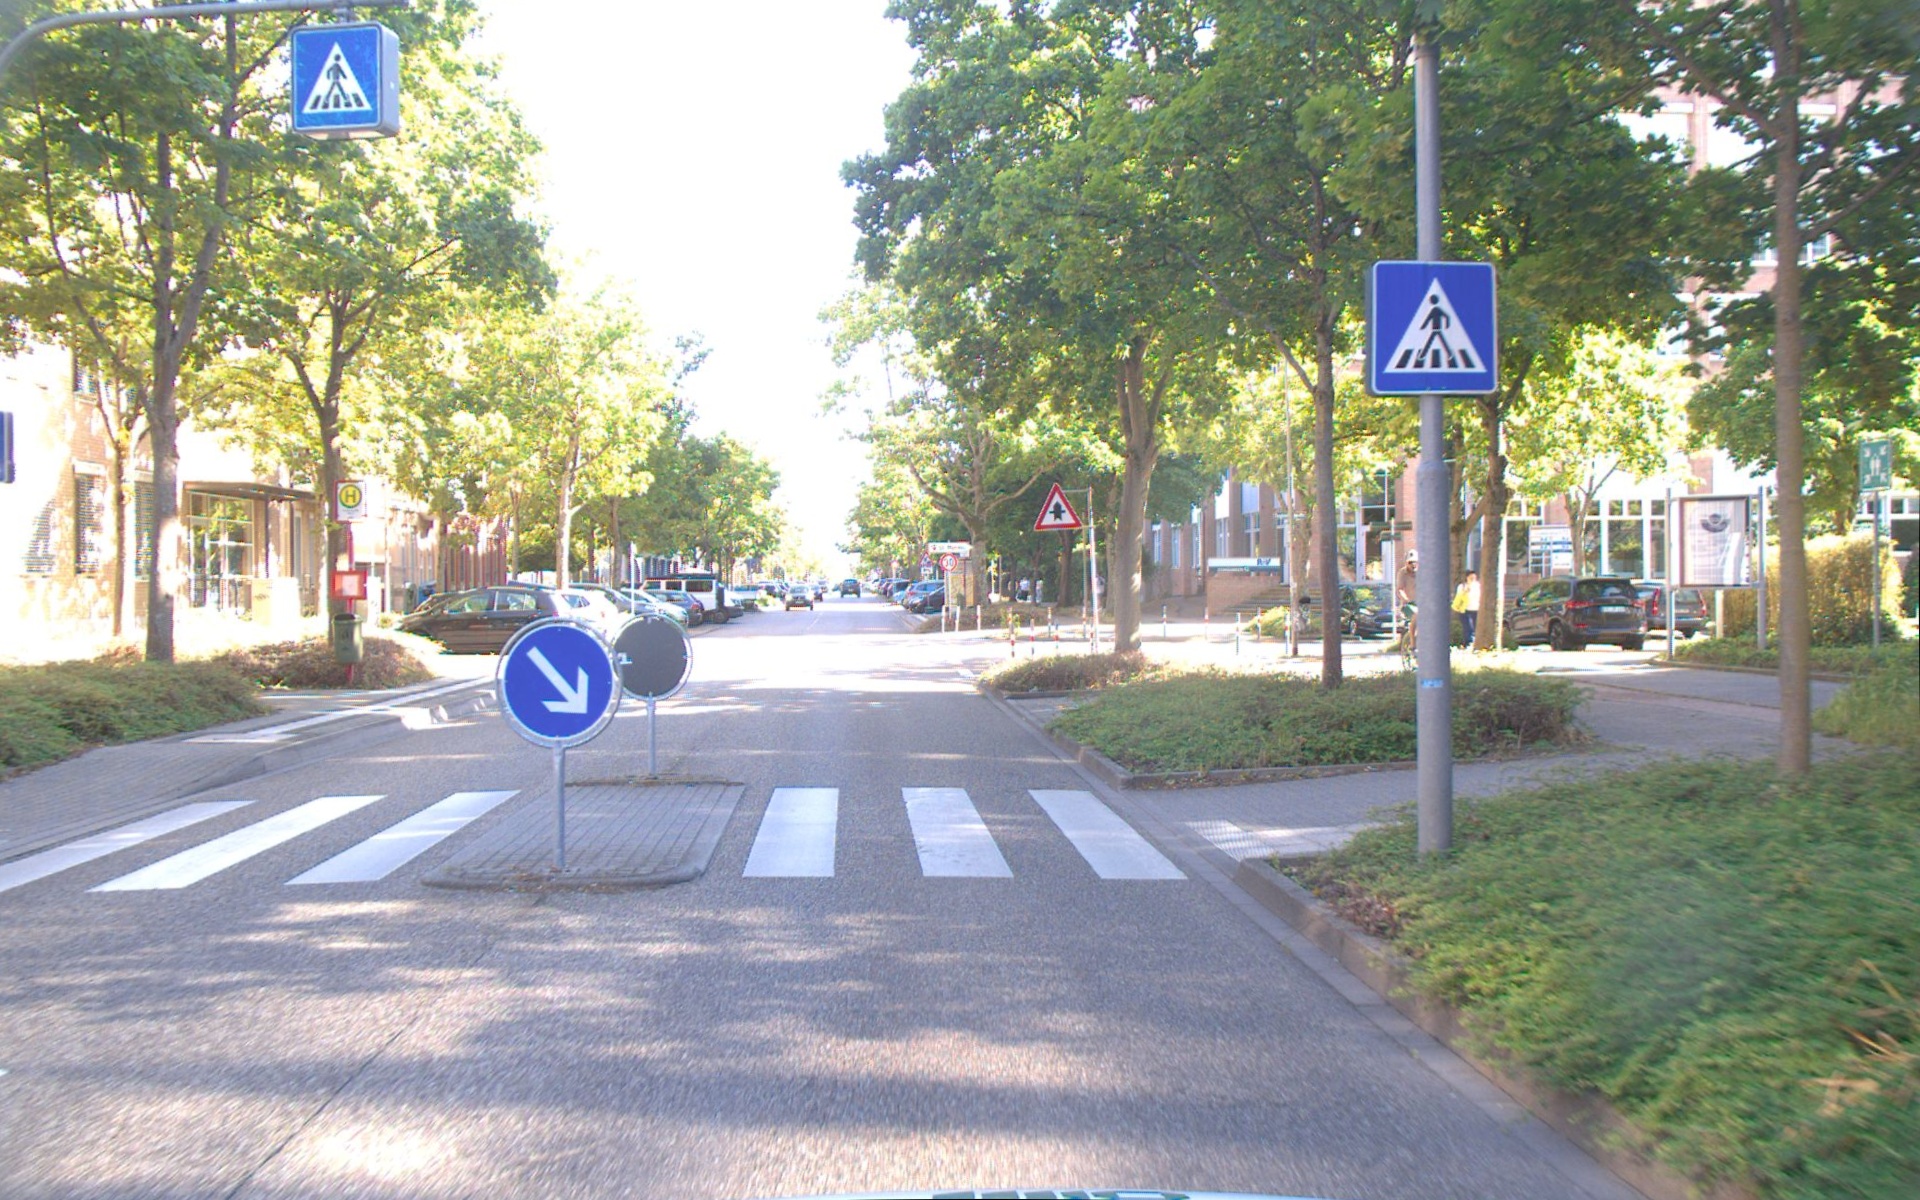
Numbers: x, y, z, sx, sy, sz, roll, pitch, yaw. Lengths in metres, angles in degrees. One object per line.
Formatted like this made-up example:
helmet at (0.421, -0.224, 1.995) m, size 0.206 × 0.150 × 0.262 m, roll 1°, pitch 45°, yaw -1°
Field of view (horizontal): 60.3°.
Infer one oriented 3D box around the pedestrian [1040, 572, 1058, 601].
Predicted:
pedestrian at (5.356, -0.809, 99.557) m, size 0.684 × 1.740 × 0.917 m, roll -4°, pitch 1°, yaw -15°

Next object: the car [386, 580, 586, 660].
car at (-10.375, 0.432, 36.390) m, size 3.909 × 1.598 × 1.726 m, roll 2°, pitch 0°, yaw -5°

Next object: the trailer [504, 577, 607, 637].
trailer at (-11.984, 0.197, 49.085) m, size 2.671 × 1.717 × 1.711 m, roll 1°, pitch 0°, yaw -4°

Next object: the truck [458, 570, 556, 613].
truck at (-30.513, -0.575, 111.628) m, size 5.986 × 2.752 × 2.575 m, roll -1°, pitch 0°, yaw -6°

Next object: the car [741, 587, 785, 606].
car at (-16.586, -0.299, 139.416) m, size 3.660 × 1.489 × 1.675 m, roll -1°, pitch 0°, yaw -5°

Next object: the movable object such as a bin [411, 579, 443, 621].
movable object such as a bin at (-20.952, -0.007, 65.065) m, size 1.126 × 1.648 × 1.435 m, roll -1°, pitch 0°, yaw -16°

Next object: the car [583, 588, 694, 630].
car at (-11.865, 0.321, 61.130) m, size 3.756 × 1.486 × 1.732 m, roll 1°, pitch 0°, yaw -1°

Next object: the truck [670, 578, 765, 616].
truck at (-13.332, -0.172, 91.138) m, size 4.884 × 1.993 × 2.138 m, roll -1°, pitch 0°, yaw -1°

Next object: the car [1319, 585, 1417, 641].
car at (11.647, 0.344, 47.440) m, size 1.619 × 1.488 × 3.914 m, roll 0°, pitch 1°, yaw -4°

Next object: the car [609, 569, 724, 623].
car at (-11.779, -0.155, 66.673) m, size 4.395 × 2.087 × 1.997 m, roll 1°, pitch 0°, yaw -6°

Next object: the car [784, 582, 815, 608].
car at (-9.719, -0.306, 100.388) m, size 1.744 × 1.538 × 3.997 m, roll -1°, pitch 0°, yaw -4°

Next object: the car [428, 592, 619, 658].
car at (-10.271, 0.567, 39.159) m, size 4.070 × 1.427 × 1.799 m, roll 1°, pitch 0°, yaw -5°

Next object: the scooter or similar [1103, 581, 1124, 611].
scooter or similar at (7.089, -0.175, 76.336) m, size 0.538 × 1.348 × 1.802 m, roll 1°, pitch 0°, yaw -9°

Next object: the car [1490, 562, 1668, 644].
car at (12.852, 0.110, 34.644) m, size 1.704 × 1.593 × 4.359 m, roll 0°, pitch -2°, yaw -6°

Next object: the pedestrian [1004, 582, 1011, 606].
pedestrian at (2.931, -0.354, 102.079) m, size 0.373 × 1.466 × 0.432 m, roll 1°, pitch 0°, yaw -7°

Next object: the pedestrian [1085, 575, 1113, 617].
pedestrian at (6.021, -0.174, 71.648) m, size 0.903 × 1.740 × 0.695 m, roll -4°, pitch 1°, yaw -17°

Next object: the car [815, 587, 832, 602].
car at (-15.763, -0.642, 190.670) m, size 1.855 × 1.713 × 4.347 m, roll -1°, pitch 1°, yaw -6°

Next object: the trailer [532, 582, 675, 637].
trailer at (-11.054, 0.289, 51.527) m, size 4.180 × 1.599 × 1.853 m, roll 1°, pitch 0°, yaw -8°

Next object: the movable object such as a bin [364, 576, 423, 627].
movable object such as a bin at (-20.591, 0.043, 60.140) m, size 1.567 × 1.828 × 1.663 m, roll -1°, pitch 0°, yaw -2°

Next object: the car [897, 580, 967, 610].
car at (-1.808, -0.334, 105.601) m, size 4.320 × 1.646 × 1.910 m, roll -4°, pitch 1°, yaw -5°

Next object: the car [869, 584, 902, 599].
car at (-9.298, -1.055, 206.916) m, size 3.913 × 1.823 × 1.996 m, roll -1°, pitch 0°, yaw -9°

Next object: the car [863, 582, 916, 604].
car at (-5.761, -0.600, 135.453) m, size 4.186 × 1.662 × 1.855 m, roll -2°, pitch 0°, yaw -7°

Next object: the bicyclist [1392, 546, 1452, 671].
bicyclist at (6.270, 0.105, 22.466) m, size 0.526 × 1.665 × 0.822 m, roll -1°, pitch 0°, yaw -3°

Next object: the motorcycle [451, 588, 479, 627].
motorcycle at (-20.995, 0.321, 70.162) m, size 0.700 × 1.619 × 2.107 m, roll -1°, pitch 1°, yaw -5°

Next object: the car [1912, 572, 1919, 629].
car at (30.318, 0.067, 48.903) m, size 1.879 × 1.753 × 4.111 m, roll -1°, pitch 2°, yaw -2°

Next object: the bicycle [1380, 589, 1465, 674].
bicycle at (6.270, 0.407, 22.498) m, size 0.523 × 1.097 × 1.918 m, roll -1°, pitch 0°, yaw -3°

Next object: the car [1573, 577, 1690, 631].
car at (19.572, 0.099, 48.405) m, size 1.654 × 1.486 × 4.271 m, roll -1°, pitch 0°, yaw -1°

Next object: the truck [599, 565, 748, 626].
truck at (-12.371, -0.225, 71.860) m, size 6.109 × 2.464 × 2.186 m, roll -1°, pitch 0°, yaw -4°

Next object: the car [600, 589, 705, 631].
car at (-11.709, 0.362, 63.202) m, size 3.703 × 1.518 × 1.832 m, roll 1°, pitch 0°, yaw -3°

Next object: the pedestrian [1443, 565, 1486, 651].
pedestrian at (9.548, 0.146, 31.326) m, size 0.528 × 1.610 × 0.646 m, roll -1°, pitch 0°, yaw -13°

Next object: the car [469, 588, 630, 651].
car at (-10.396, 0.488, 42.059) m, size 3.681 × 1.477 × 1.753 m, roll 1°, pitch 0°, yaw -5°

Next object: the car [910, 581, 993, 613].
car at (-0.424, -0.153, 80.008) m, size 3.859 × 1.464 × 1.772 m, roll -1°, pitch 0°, yaw -7°

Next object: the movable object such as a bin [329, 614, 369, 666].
movable object such as a bin at (-8.921, 0.583, 24.161) m, size 0.433 × 0.744 × 0.408 m, roll 1°, pitch 0°, yaw -4°

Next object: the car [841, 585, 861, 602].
car at (-10.965, -0.633, 166.166) m, size 1.895 × 1.625 × 4.362 m, roll -1°, pitch 1°, yaw -4°

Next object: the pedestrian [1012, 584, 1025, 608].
pedestrian at (3.619, -0.246, 102.195) m, size 0.687 × 1.483 × 0.714 m, roll -1°, pitch 1°, yaw -7°

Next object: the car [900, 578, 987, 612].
car at (-0.871, -0.272, 86.888) m, size 4.273 × 1.625 × 1.935 m, roll -1°, pitch 0°, yaw -11°
